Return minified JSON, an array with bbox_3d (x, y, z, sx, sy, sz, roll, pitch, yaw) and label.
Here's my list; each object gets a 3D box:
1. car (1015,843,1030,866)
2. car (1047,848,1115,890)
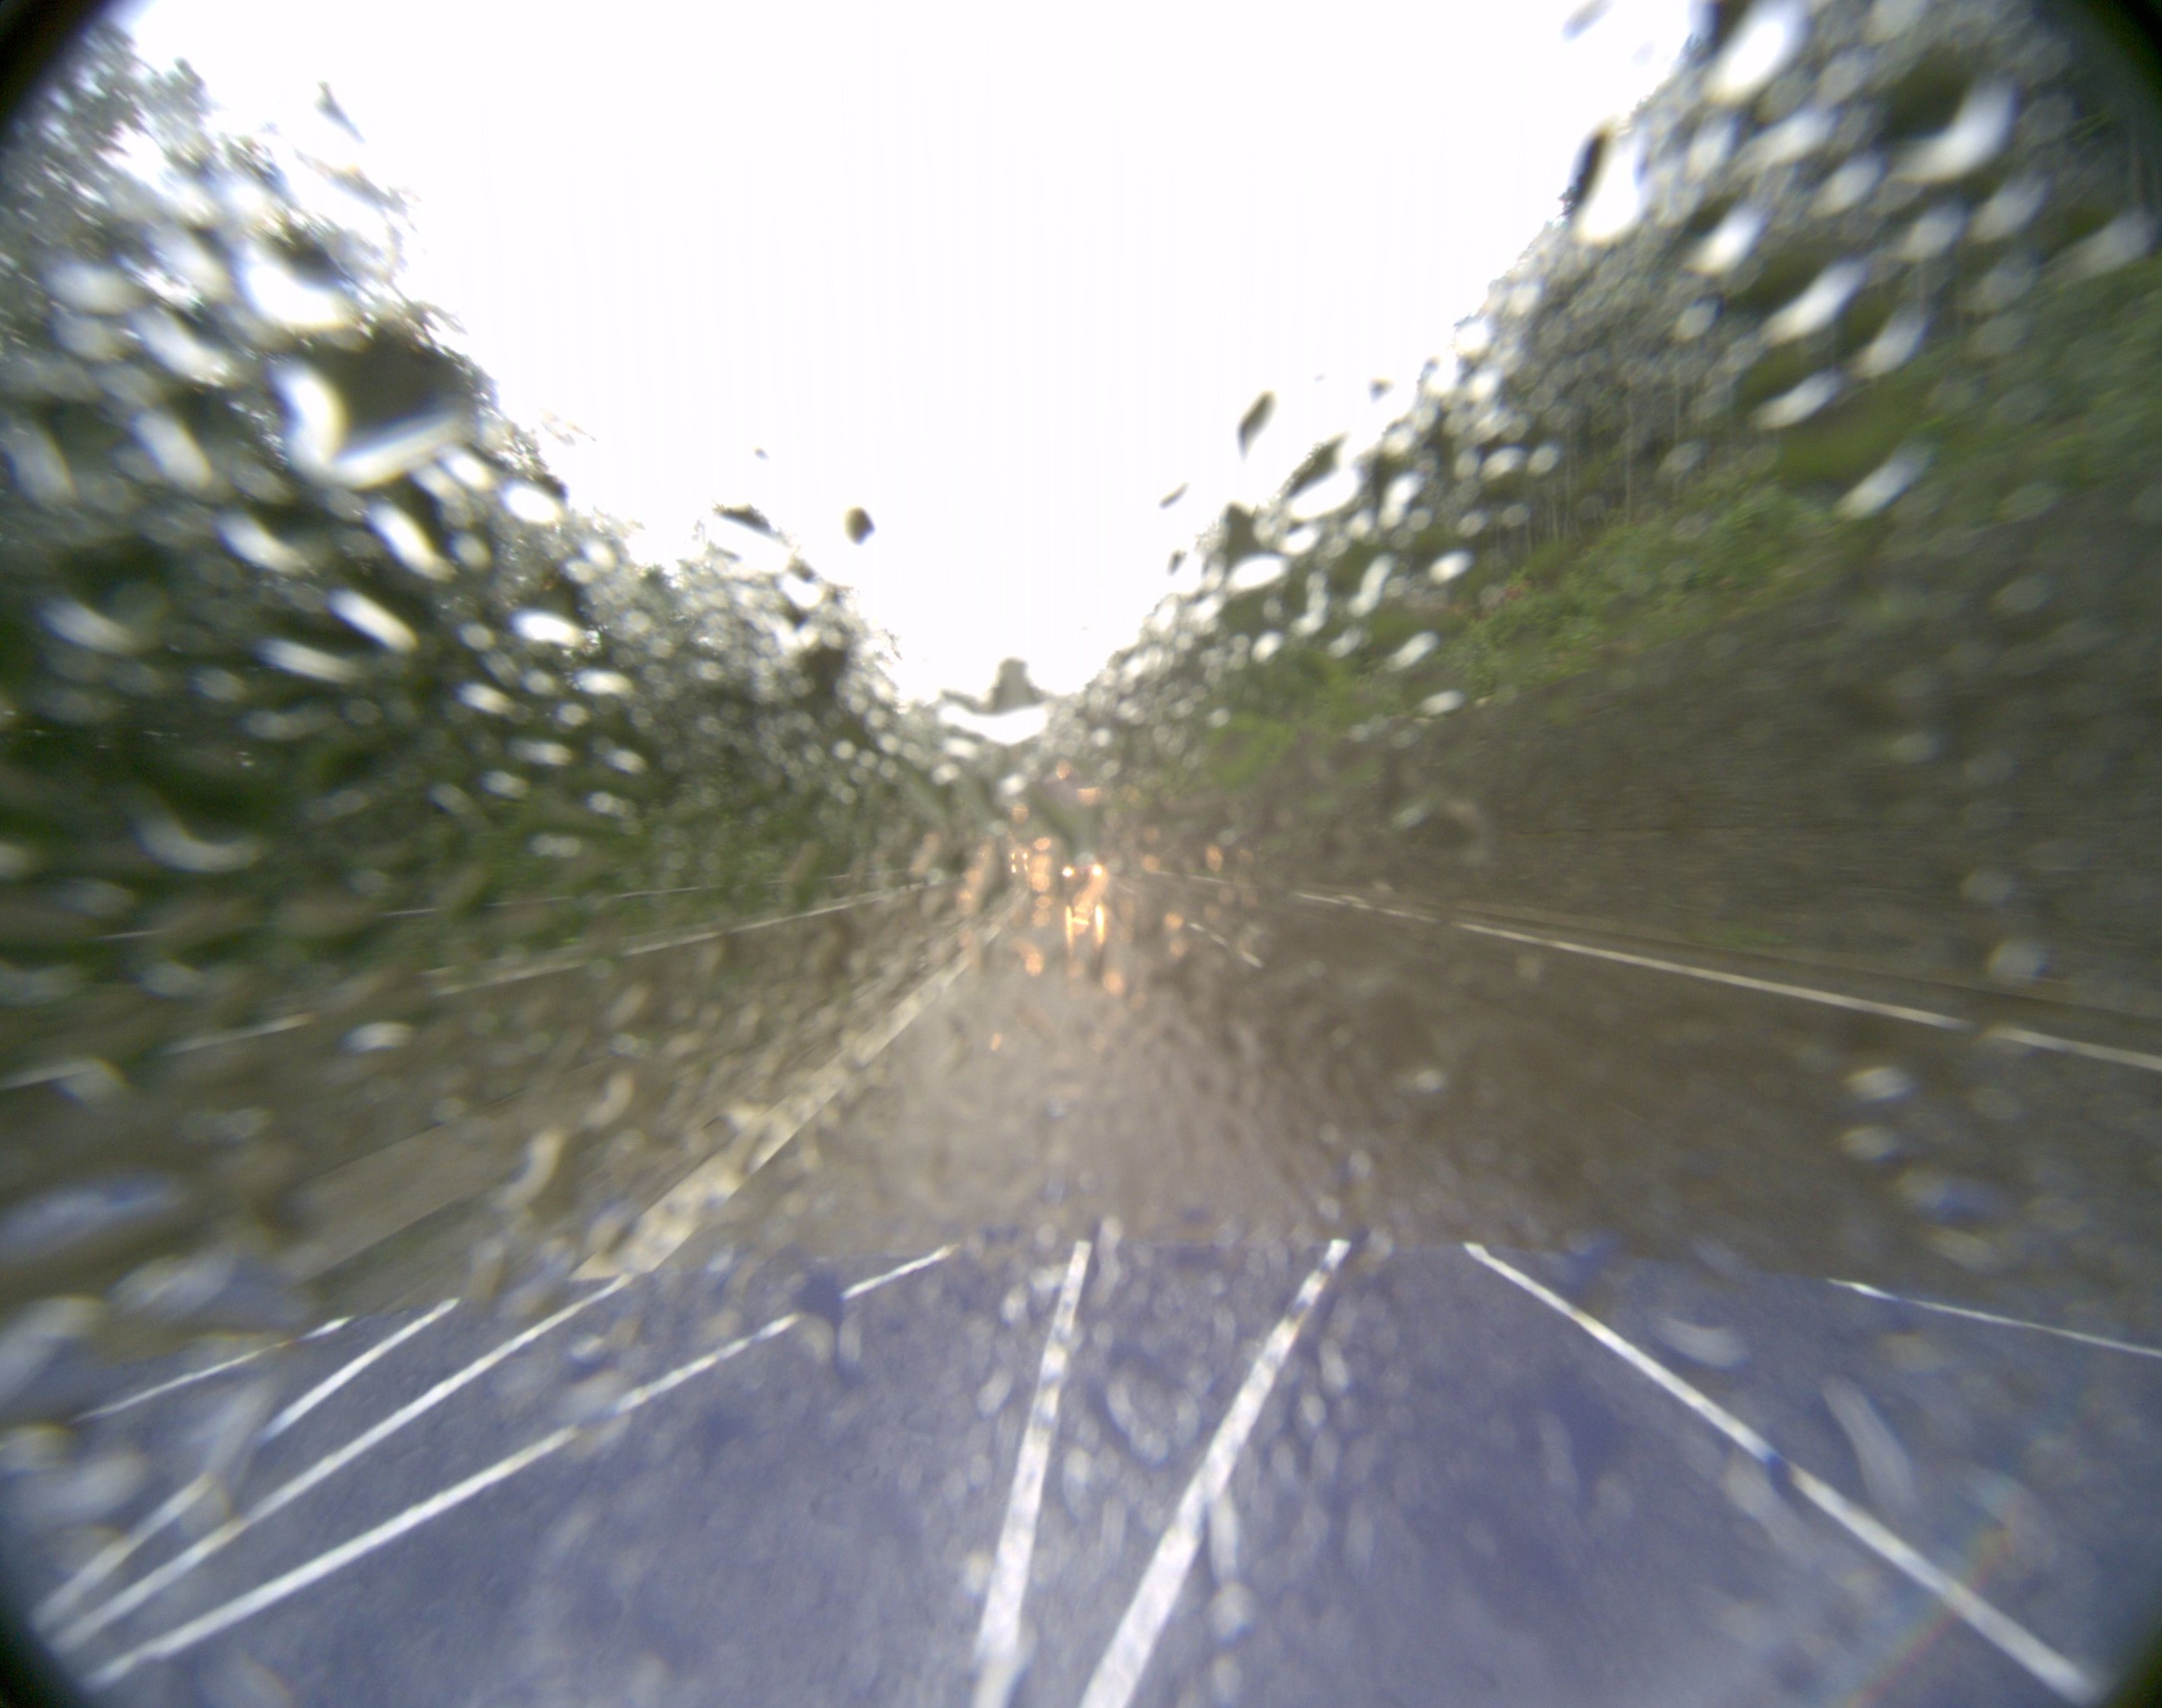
[{"bbox_3d":[-7.831,0.014,101.166,1.743,3.008,3.996,1,1,-8],"label":"car"},{"bbox_3d":[-0.134,0.550,31.432,2.360,1.549,5.496,-2,0,-4],"label":"car"}]
